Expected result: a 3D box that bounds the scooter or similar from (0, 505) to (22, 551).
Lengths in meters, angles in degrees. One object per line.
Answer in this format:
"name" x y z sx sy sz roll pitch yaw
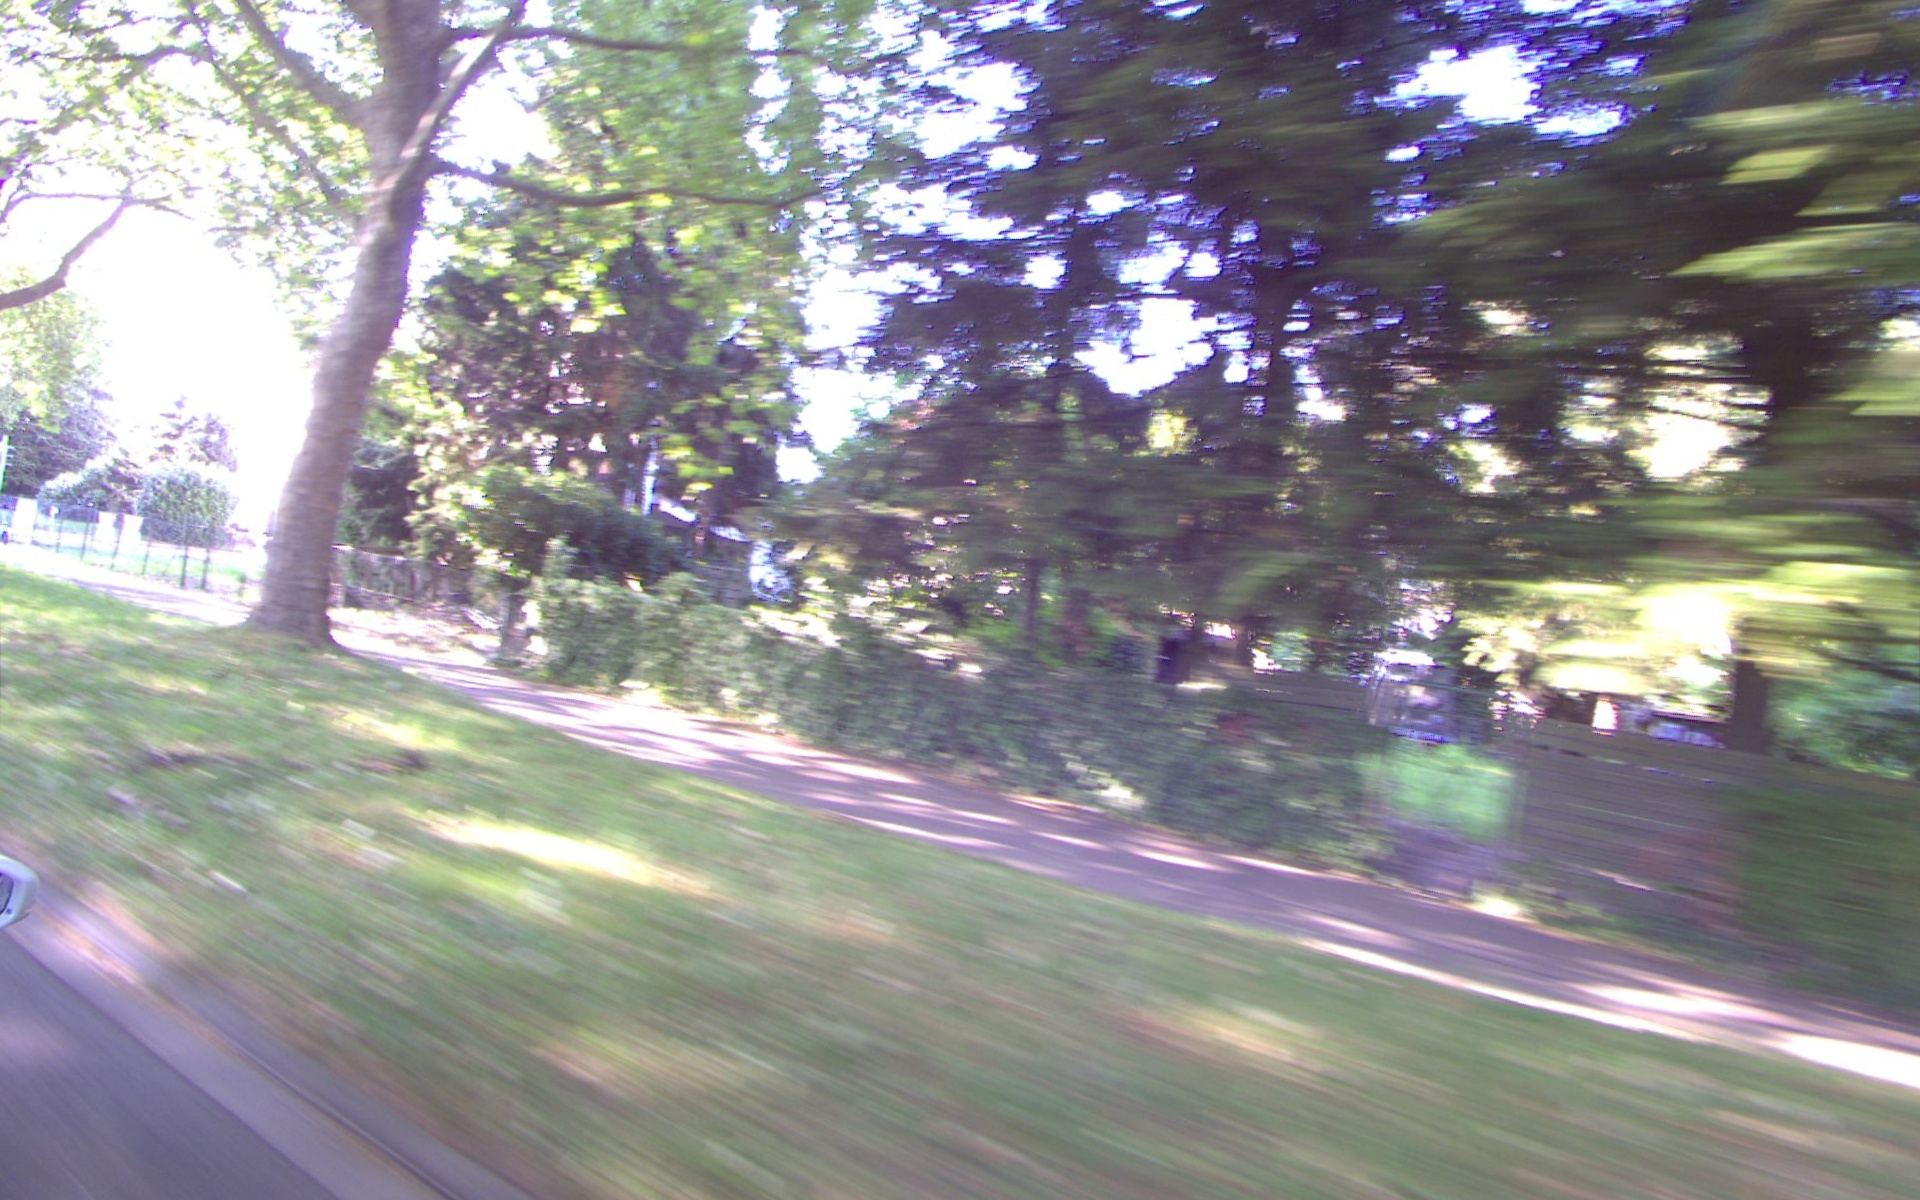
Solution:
"scooter or similar" -28.571 -2.188 29.798 2.276 1.273 0.550 6 -1 34
